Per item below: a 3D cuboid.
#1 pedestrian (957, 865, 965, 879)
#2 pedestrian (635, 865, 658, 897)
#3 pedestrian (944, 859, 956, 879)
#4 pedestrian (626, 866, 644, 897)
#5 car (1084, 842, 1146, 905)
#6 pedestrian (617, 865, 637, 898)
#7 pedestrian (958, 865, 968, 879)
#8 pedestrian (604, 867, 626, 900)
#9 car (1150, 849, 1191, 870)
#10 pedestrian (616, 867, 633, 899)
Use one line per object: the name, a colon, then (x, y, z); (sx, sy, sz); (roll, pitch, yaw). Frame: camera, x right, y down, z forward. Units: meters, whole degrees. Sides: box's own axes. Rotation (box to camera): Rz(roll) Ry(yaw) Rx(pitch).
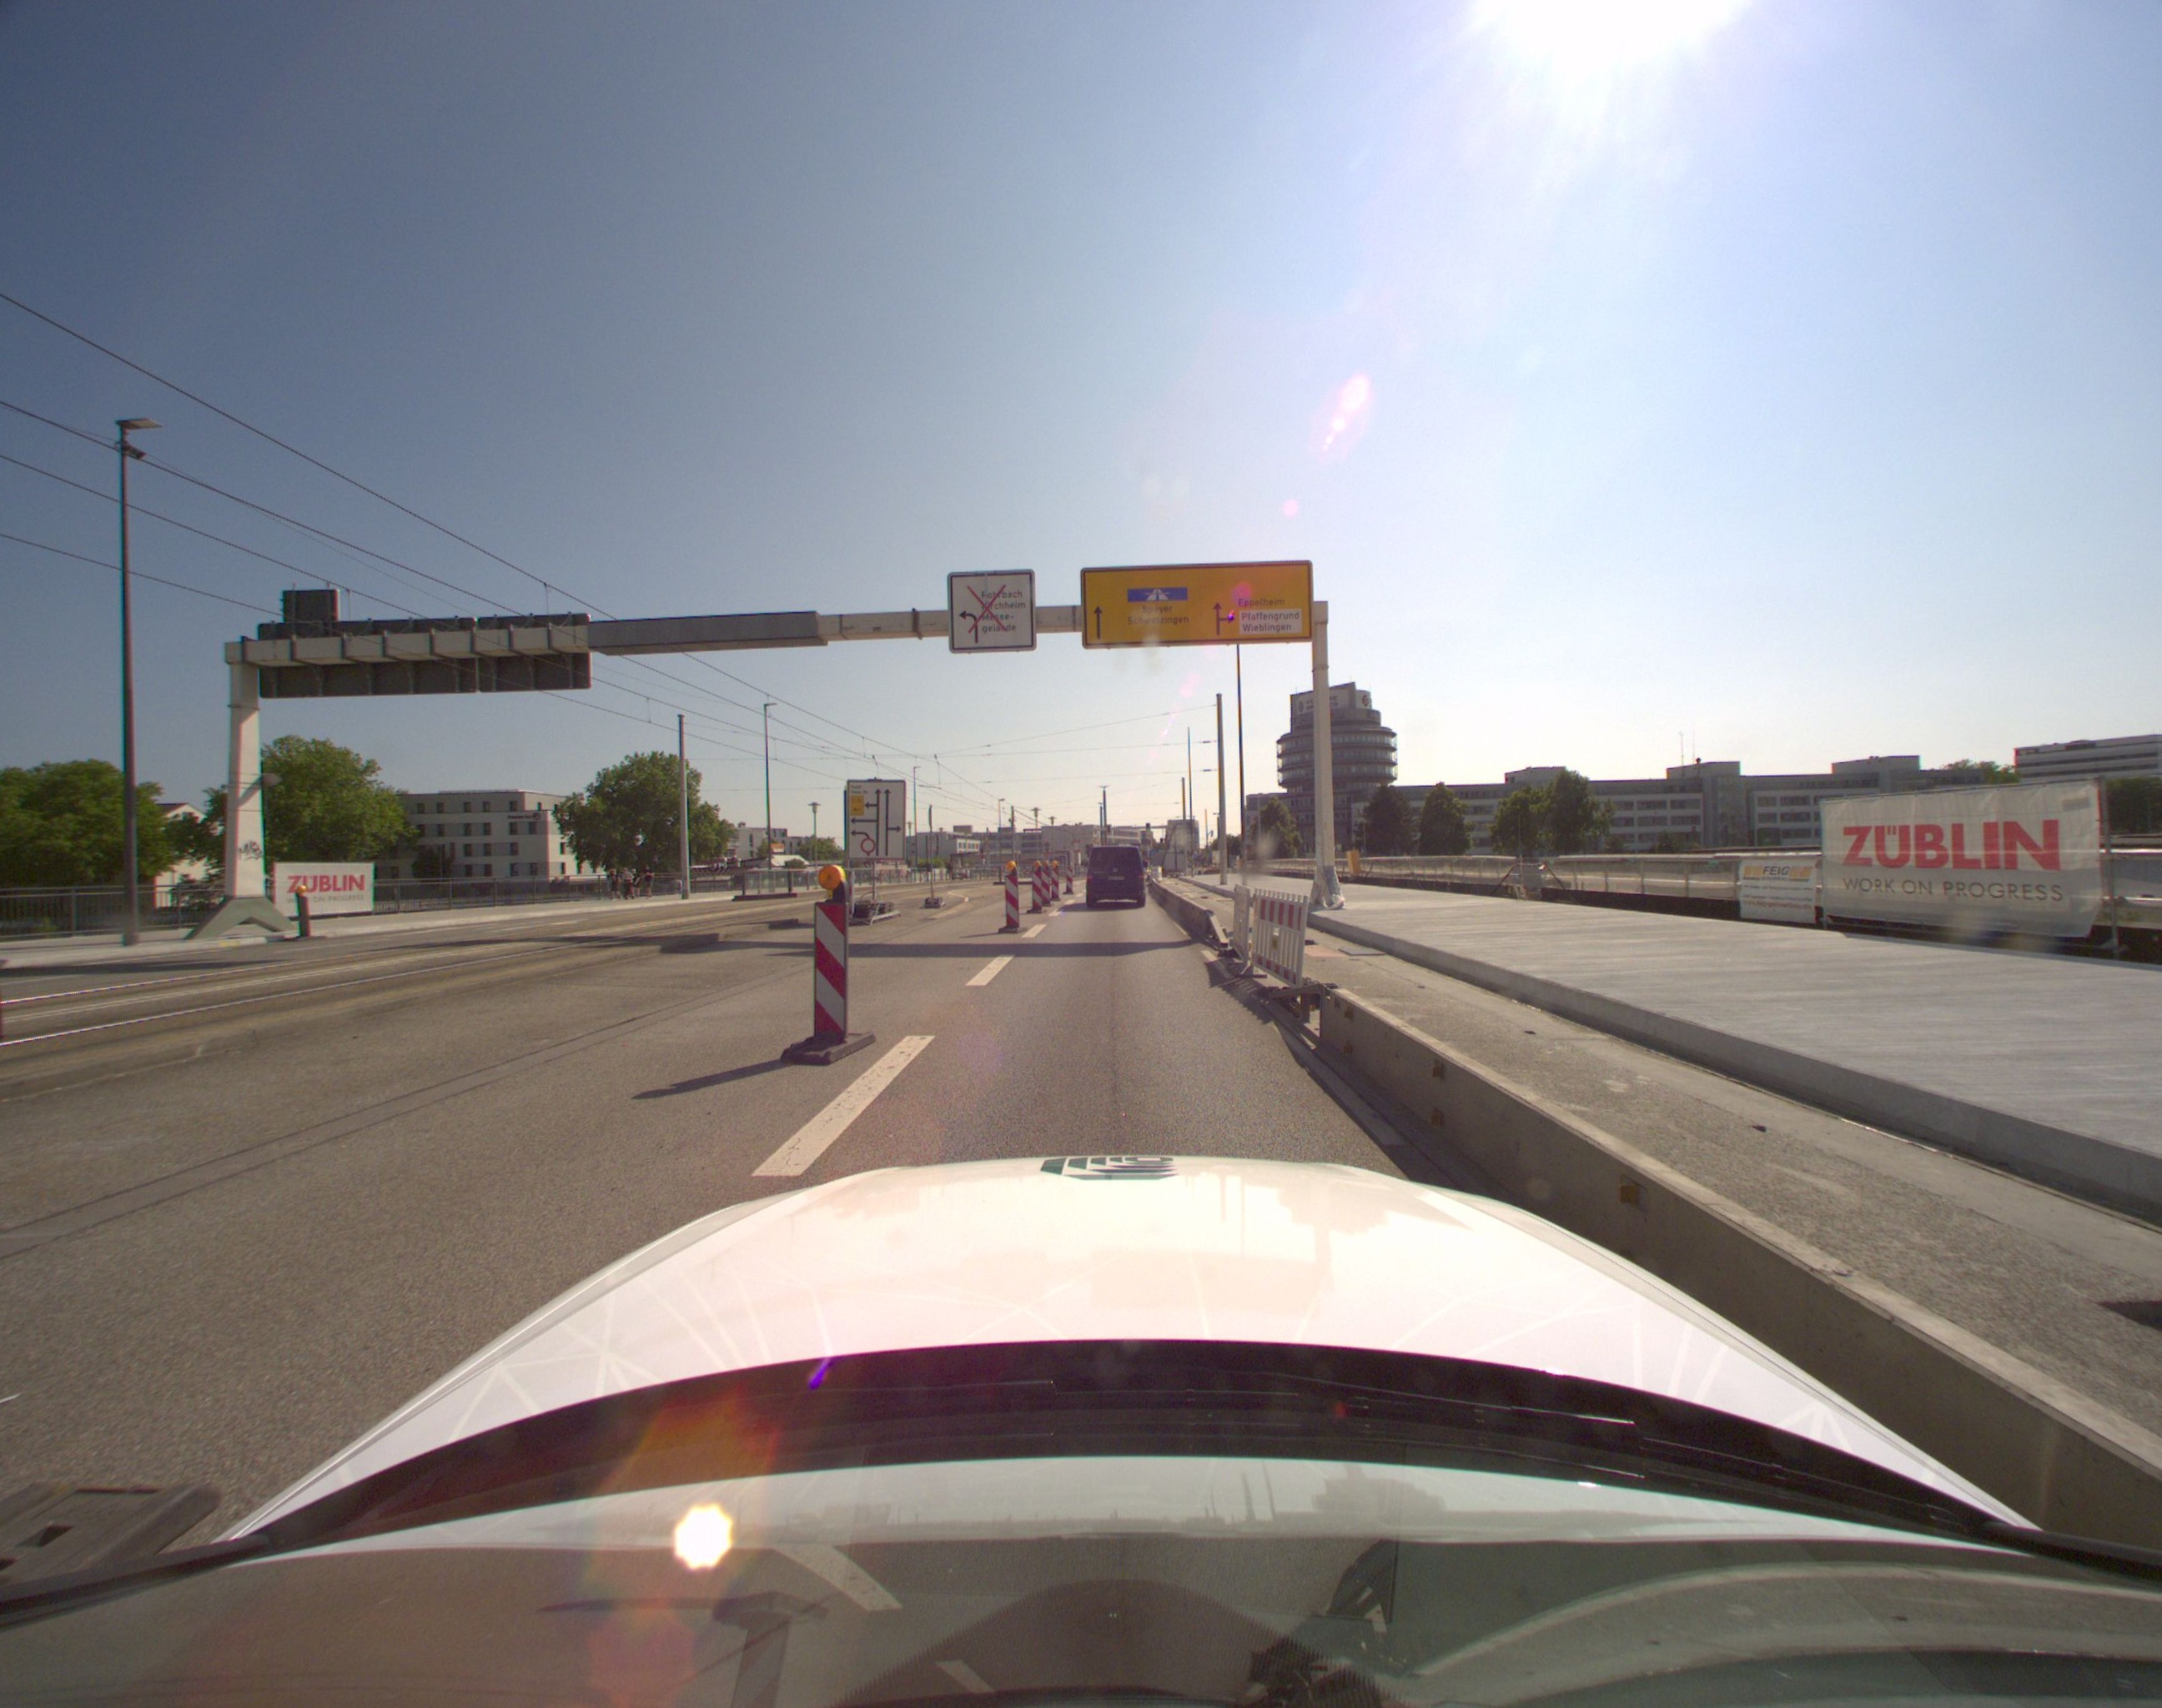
pedestrian: (-10.883, 1.607, 73.951); (0.644, 1.274, 0.454); (-1, -1, 7)
pedestrian: (-23.492, 1.466, 44.022); (0.749, 1.687, 0.732); (-2, 0, 4)
pedestrian: (-10.778, 1.243, 67.163); (0.655, 1.654, 0.742); (-2, -1, 15)
pedestrian: (-24.699, 1.514, 45.128); (0.501, 1.687, 0.774); (-2, 0, 4)
car: (1.116, 0.592, 26.912); (1.881, 1.934, 4.002); (0, 0, 2)
pedestrian: (-23.740, 1.444, 42.600); (0.484, 1.687, 0.809); (-2, 0, 4)
pedestrian: (-10.803, 1.608, 74.533); (0.644, 1.274, 0.698); (-1, -1, 7)
pedestrian: (-24.339, 1.521, 42.517); (0.595, 1.687, 0.819); (-2, 0, 4)
car: (12.443, 0.707, 112.437); (6.004, 2.887, 2.318); (0, 0, -44)
pedestrian: (-24.254, 1.526, 43.300); (0.381, 1.687, 0.771); (-2, 0, 4)
